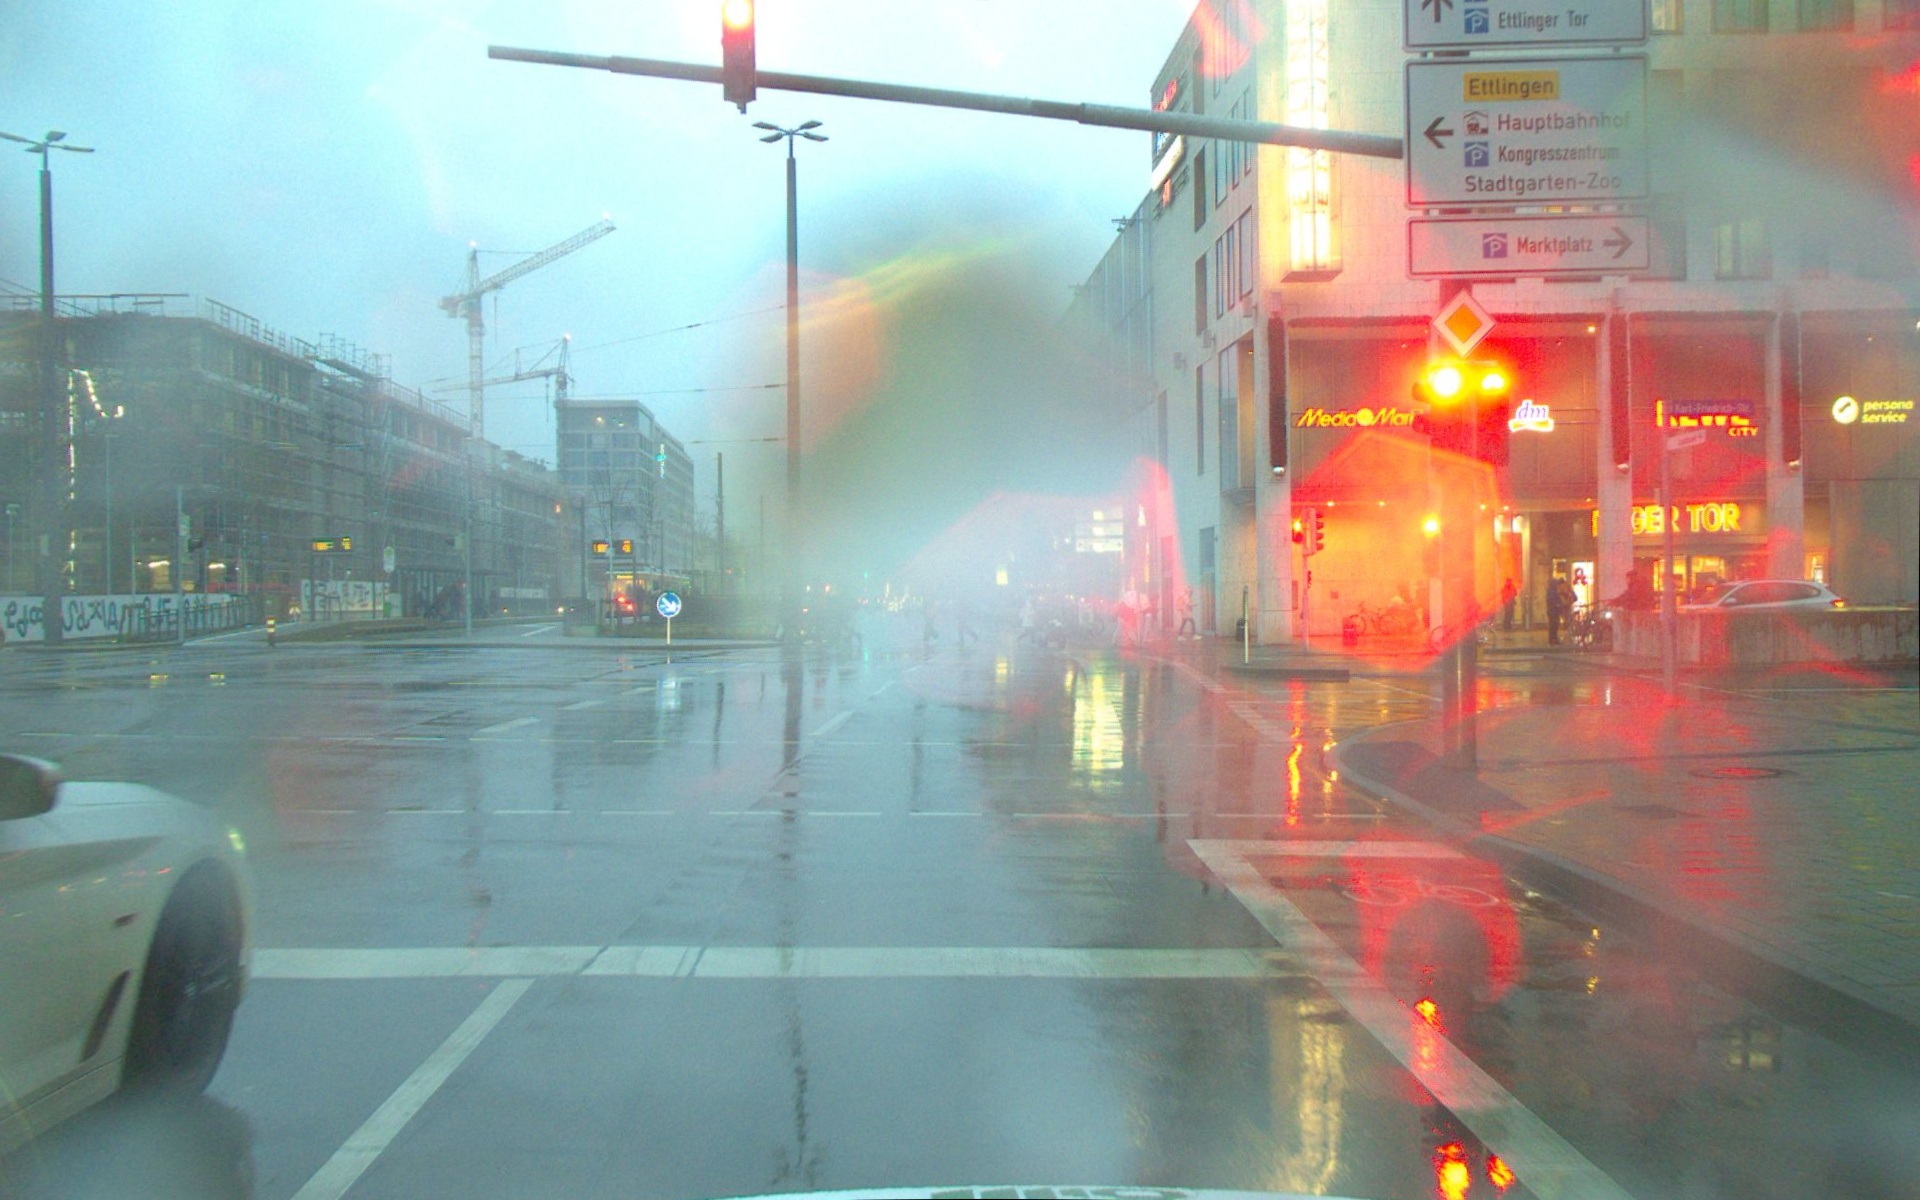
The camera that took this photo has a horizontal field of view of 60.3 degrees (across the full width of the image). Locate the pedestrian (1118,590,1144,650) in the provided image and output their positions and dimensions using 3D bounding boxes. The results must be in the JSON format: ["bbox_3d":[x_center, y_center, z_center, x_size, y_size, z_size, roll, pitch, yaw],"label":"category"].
[{"bbox_3d":[5.227,0.605,50.618,0.688,1.791,0.667,-1,0,-1],"label":"pedestrian"}]

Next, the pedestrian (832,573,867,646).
[{"bbox_3d":[-3.166,0.262,47.237,0.770,2.049,0.604,-1,0,-39],"label":"pedestrian"}]

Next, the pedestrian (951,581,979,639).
[{"bbox_3d":[0.161,0.305,50.034,0.825,1.718,0.677,-1,0,1],"label":"pedestrian"}]

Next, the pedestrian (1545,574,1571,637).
[{"bbox_3d":[16.287,0.145,45.044,0.526,1.715,0.547,-1,0,37],"label":"pedestrian"}]

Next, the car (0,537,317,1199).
[{"bbox_3d":[-2.992,0.650,2.956,1.871,1.547,4.922,-1,0,-2],"label":"car"}]

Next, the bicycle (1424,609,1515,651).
[{"bbox_3d":[12.583,0.729,40.857,2.086,1.009,0.541,1,-1,-5],"label":"bicycle"}]

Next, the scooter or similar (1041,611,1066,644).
[{"bbox_3d":[2.871,0.849,50.735,0.725,1.011,0.401,-1,0,11],"label":"scooter or similar"}]

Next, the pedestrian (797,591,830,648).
[{"bbox_3d":[-4.273,0.556,48.234,0.802,1.647,0.537,-1,0,37],"label":"pedestrian"}]

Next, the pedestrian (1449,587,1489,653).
[{"bbox_3d":[12.577,0.494,40.875,0.798,1.597,0.536,-1,0,-5],"label":"pedestrian"}]

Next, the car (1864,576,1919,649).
[{"bbox_3d":[22.996,0.255,37.629,3.969,1.610,1.675,-1,-1,-3],"label":"car"}]

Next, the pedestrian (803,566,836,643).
[{"bbox_3d":[-3.937,0.121,46.216,0.682,2.124,0.604,-1,0,-41],"label":"pedestrian"}]

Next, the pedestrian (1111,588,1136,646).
[{"bbox_3d":[5.074,0.521,51.369,0.688,1.791,0.652,-1,0,-1],"label":"pedestrian"}]

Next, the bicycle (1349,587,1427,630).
[{"bbox_3d":[13.807,0.277,53.376,2.378,1.352,0.634,-1,0,-6],"label":"bicycle"}]

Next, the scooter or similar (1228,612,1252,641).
[{"bbox_3d":[9.191,0.860,54.338,0.726,0.932,0.400,-1,0,1],"label":"scooter or similar"}]

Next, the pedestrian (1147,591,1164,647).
[{"bbox_3d":[6.304,0.598,53.379,0.501,1.791,0.374,-1,0,-1],"label":"pedestrian"}]

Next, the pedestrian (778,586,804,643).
[{"bbox_3d":[-4.892,0.413,47.838,0.692,1.647,0.613,-1,0,-3],"label":"pedestrian"}]

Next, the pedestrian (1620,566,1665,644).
[{"bbox_3d":[14.289,0.102,34.648,0.764,1.623,0.613,-1,0,15],"label":"pedestrian"}]

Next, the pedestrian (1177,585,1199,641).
[{"bbox_3d":[7.263,0.411,52.604,0.605,1.791,0.482,-1,0,-1],"label":"pedestrian"}]

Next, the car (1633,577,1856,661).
[{"bbox_3d":[17.652,0.419,37.351,4.213,1.792,1.707,-1,0,2],"label":"car"}]

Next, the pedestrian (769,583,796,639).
[{"bbox_3d":[-5.306,0.314,49.447,0.692,1.647,0.680,-1,0,1],"label":"pedestrian"}]

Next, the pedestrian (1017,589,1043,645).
[{"bbox_3d":[2.149,0.521,50.878,0.725,1.696,0.401,-1,0,11],"label":"pedestrian"}]

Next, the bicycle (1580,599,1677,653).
[{"bbox_3d":[14.023,0.542,34.729,1.806,1.112,0.618,-1,0,15],"label":"bicycle"}]

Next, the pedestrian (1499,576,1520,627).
[{"bbox_3d":[18.622,0.052,56.096,0.526,1.748,0.500,-1,0,37],"label":"pedestrian"}]

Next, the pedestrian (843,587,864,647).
[{"bbox_3d":[-3.236,0.511,50.125,0.607,1.776,0.612,-1,0,-6],"label":"pedestrian"}]

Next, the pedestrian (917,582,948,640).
[{"bbox_3d":[-0.816,0.329,49.145,0.813,1.709,0.620,-1,0,9],"label":"pedestrian"}]
